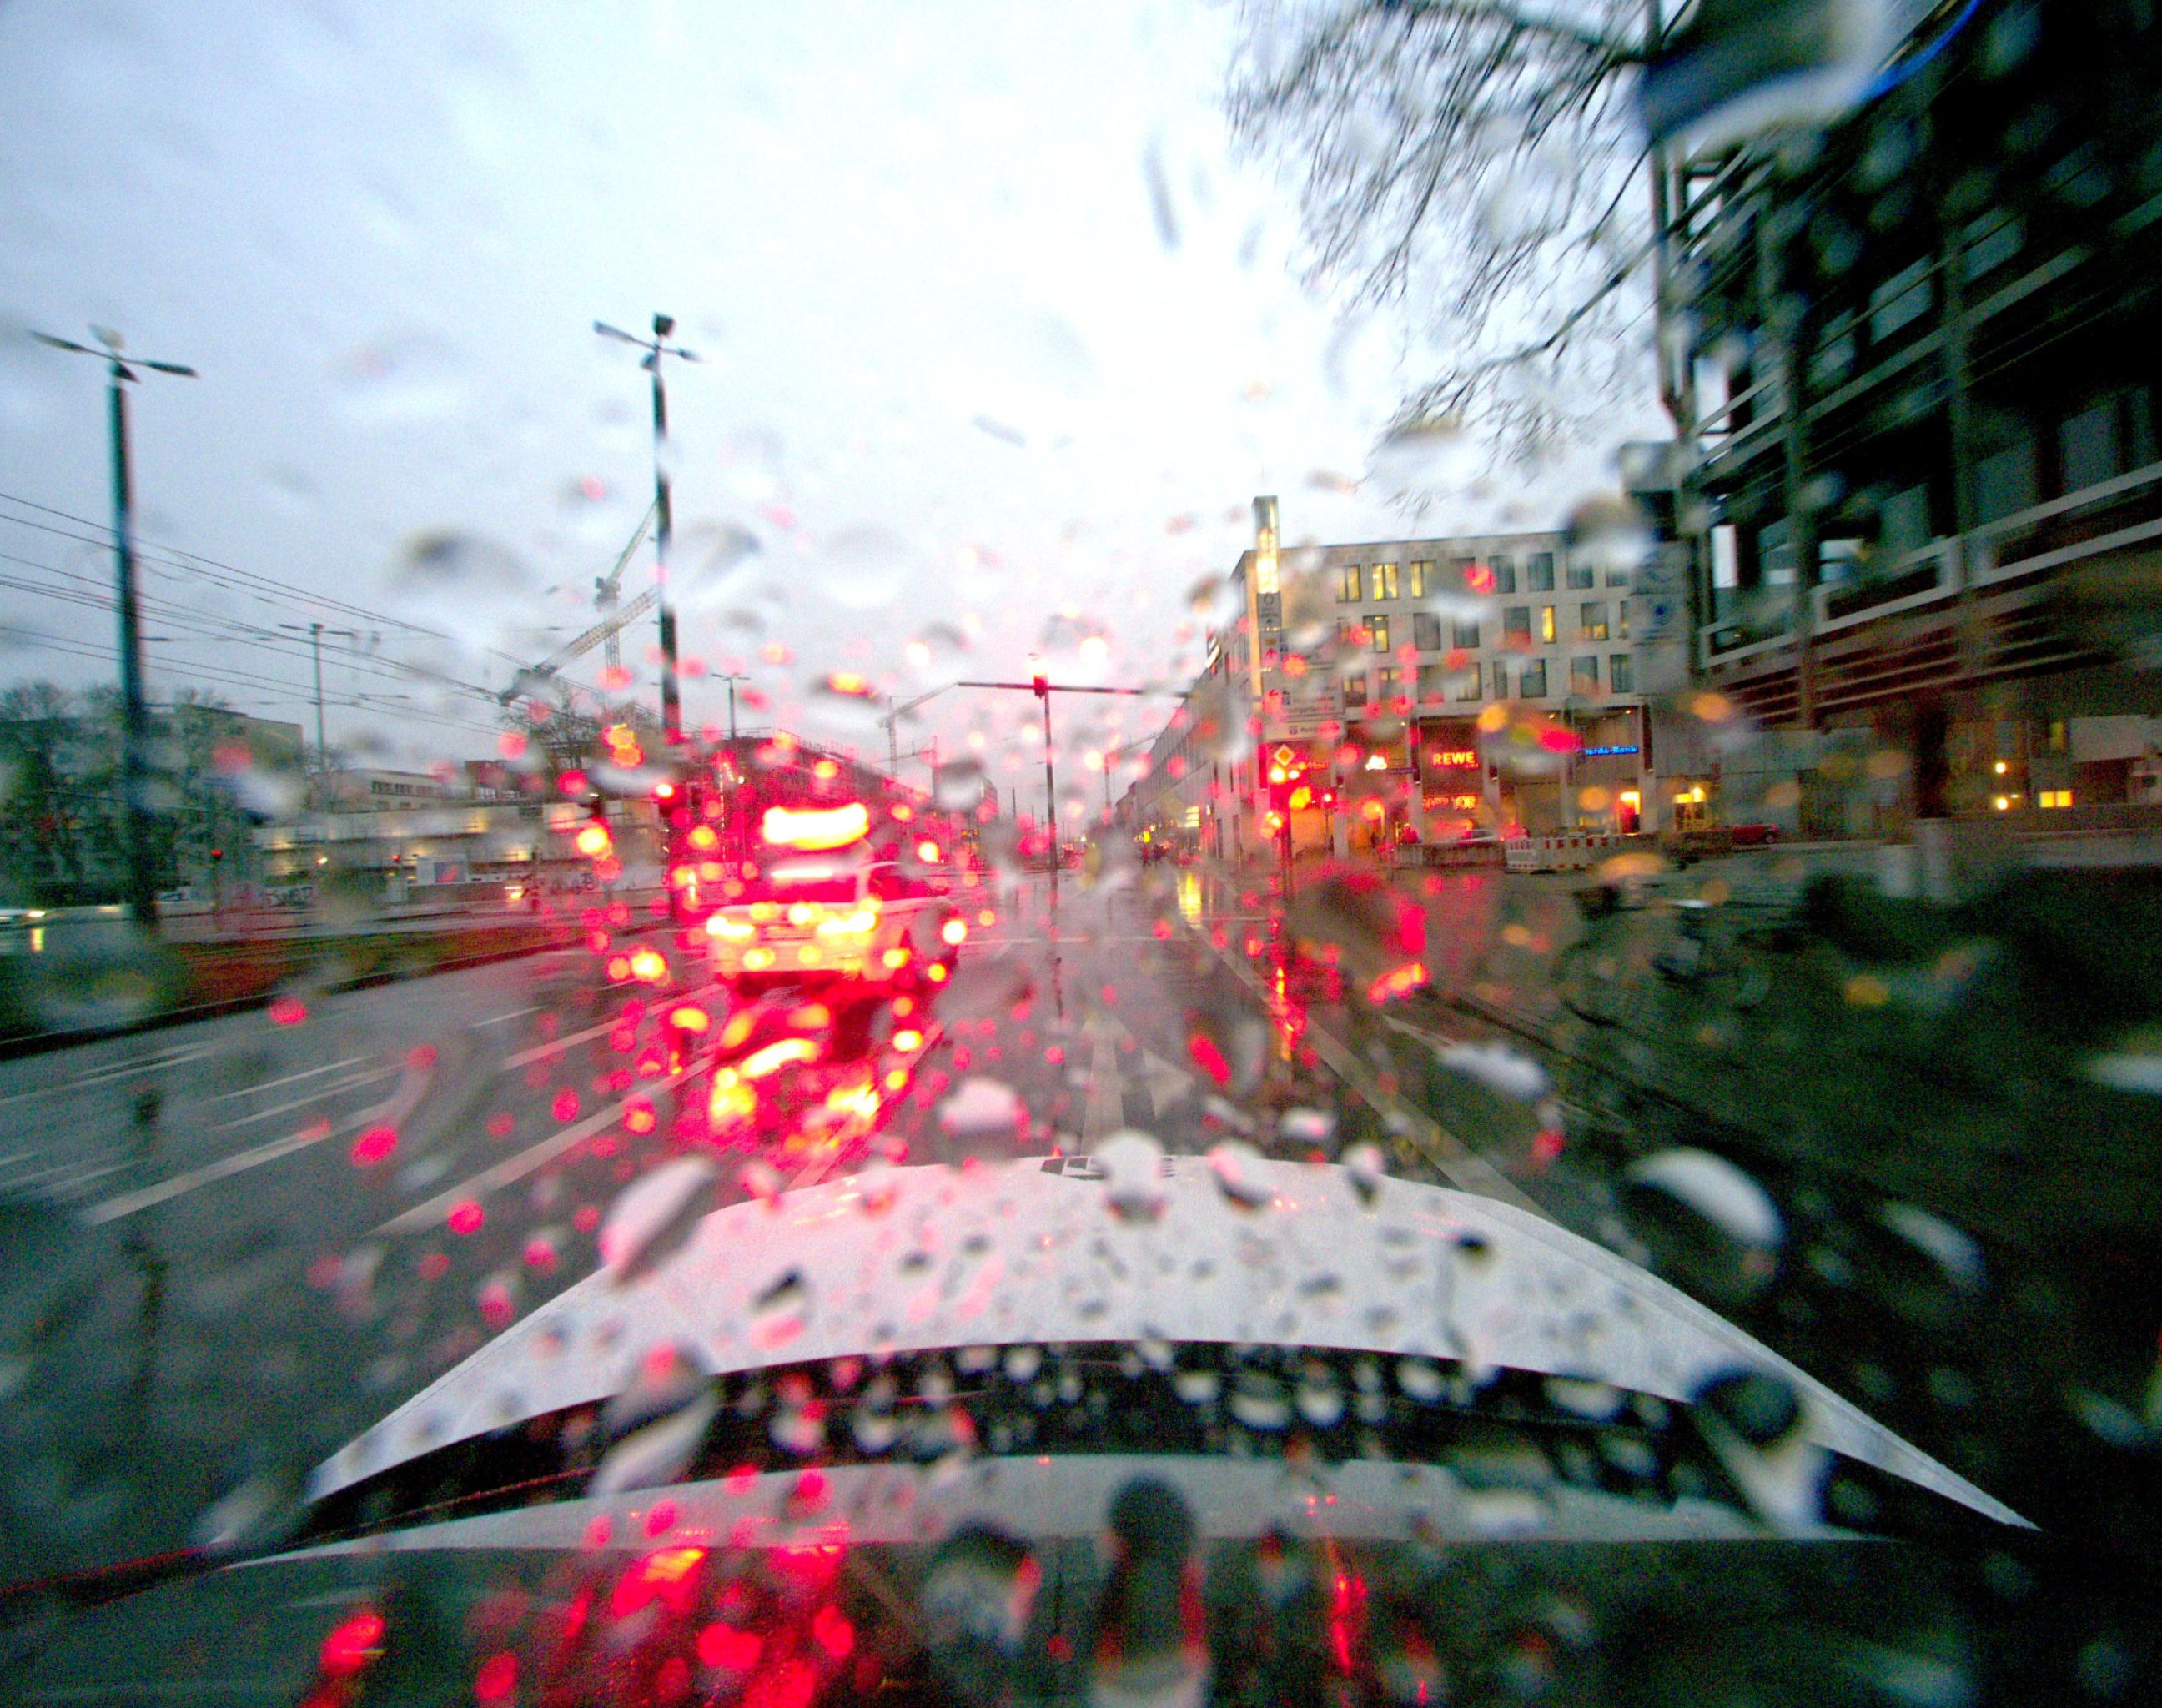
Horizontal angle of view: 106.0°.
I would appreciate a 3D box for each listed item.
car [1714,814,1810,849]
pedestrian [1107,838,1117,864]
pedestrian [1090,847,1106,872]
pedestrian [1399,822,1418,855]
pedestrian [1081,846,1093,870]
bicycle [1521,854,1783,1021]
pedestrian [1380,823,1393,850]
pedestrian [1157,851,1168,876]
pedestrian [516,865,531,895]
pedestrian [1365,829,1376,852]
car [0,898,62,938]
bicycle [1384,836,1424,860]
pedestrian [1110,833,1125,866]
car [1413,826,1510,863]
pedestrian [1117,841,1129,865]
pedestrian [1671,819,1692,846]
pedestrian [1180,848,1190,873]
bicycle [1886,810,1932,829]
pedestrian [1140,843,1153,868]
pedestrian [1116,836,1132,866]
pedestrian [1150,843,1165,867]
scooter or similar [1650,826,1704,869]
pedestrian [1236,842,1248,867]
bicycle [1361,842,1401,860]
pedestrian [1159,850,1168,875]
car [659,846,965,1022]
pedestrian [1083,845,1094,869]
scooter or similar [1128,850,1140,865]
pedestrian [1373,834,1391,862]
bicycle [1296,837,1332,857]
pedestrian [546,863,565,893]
[{"bbox_3d":[35.639,-1.174,42.684,3.557,1.582,1.676,-3,-1,0],"label":"car"},{"bbox_3d":[2.138,-0.229,56.316,0.617,1.746,0.612,-3,0,-3],"label":"pedestrian"},{"bbox_3d":[1.156,0.387,55.196,0.808,1.619,0.542,-3,0,40],"label":"pedestrian"},{"bbox_3d":[16.474,-0.775,40.948,0.774,1.595,0.616,-3,0,18],"label":"pedestrian"},{"bbox_3d":[0.427,0.271,54.860,0.704,1.619,0.613,-3,0,0],"label":"pedestrian"},{"bbox_3d":[4.532,0.642,6.501,1.746,1.148,0.435,-5,0,-2],"label":"bicycle"},{"bbox_3d":[19.156,-1.097,51.022,0.530,1.685,0.552,-3,0,40],"label":"pedestrian"},{"bbox_3d":[5.807,0.659,58.237,0.699,1.760,0.668,-3,0,2],"label":"pedestrian"},{"bbox_3d":[-38.102,1.759,55.680,0.507,2.014,0.638,-4,-3,-8],"label":"pedestrian"},{"bbox_3d":[22.060,-1.049,62.035,0.530,1.717,0.505,-3,0,40],"label":"pedestrian"},{"bbox_3d":[-50.880,3.079,38.009,3.975,1.684,2.000,-3,0,-1],"label":"car"},{"bbox_3d":[16.261,-0.312,41.034,1.830,1.093,0.620,-3,0,17],"label":"bicycle"},{"bbox_3d":[2.389,-0.296,53.649,0.691,2.087,0.606,-3,0,-37],"label":"pedestrian"},{"bbox_3d":[20.219,-0.509,43.397,4.281,1.761,1.710,-3,0,5],"label":"car"},{"bbox_3d":[3.007,-0.071,57.733,0.737,1.667,0.401,-3,0,8],"label":"pedestrian"},{"bbox_3d":[37.336,-1.340,50.626,0.791,1.631,0.710,-1,-1,3],"label":"pedestrian"},{"bbox_3d":[7.544,0.456,59.139,0.615,1.760,0.482,-3,0,2],"label":"pedestrian"},{"bbox_3d":[49.579,-2.040,48.792,0.613,1.033,2.139,-3,0,4],"label":"bicycle"},{"bbox_3d":[4.527,0.100,56.370,0.828,1.679,0.619,-3,0,1],"label":"pedestrian"},{"bbox_3d":[2.857,-0.202,54.713,0.781,2.013,0.606,-3,0,-36],"label":"pedestrian"},{"bbox_3d":[5.391,0.062,57.257,0.842,1.688,0.675,-3,0,-9],"label":"pedestrian"},{"bbox_3d":[16.423,-0.171,22.474,0.603,1.130,1.236,-3,0,3],"label":"scooter or similar"},{"bbox_3d":[11.600,0.015,58.610,0.700,1.760,0.653,-3,0,2],"label":"pedestrian"},{"bbox_3d":[17.471,-0.158,47.469,2.121,0.991,0.541,-1,-1,0],"label":"bicycle"},{"bbox_3d":[5.991,0.607,59.099,0.510,1.760,0.374,-3,0,2],"label":"pedestrian"},{"bbox_3d":[-2.816,0.722,9.933,1.902,1.520,4.925,-3,0,2],"label":"car"},{"bbox_3d":[0.526,0.205,56.543,0.703,1.619,0.681,-3,0,4],"label":"pedestrian"},{"bbox_3d":[3.759,0.226,57.628,0.737,0.993,0.401,-3,0,8],"label":"scooter or similar"},{"bbox_3d":[17.536,-0.356,47.477,0.812,1.570,0.536,-3,0,0],"label":"pedestrian"},{"bbox_3d":[16.955,-0.484,59.196,2.419,1.329,0.634,-2,0,-3],"label":"bicycle"},{"bbox_3d":[-36.576,1.651,56.677,0.791,2.014,0.745,-3,-4,-7],"label":"pedestrian"}]
